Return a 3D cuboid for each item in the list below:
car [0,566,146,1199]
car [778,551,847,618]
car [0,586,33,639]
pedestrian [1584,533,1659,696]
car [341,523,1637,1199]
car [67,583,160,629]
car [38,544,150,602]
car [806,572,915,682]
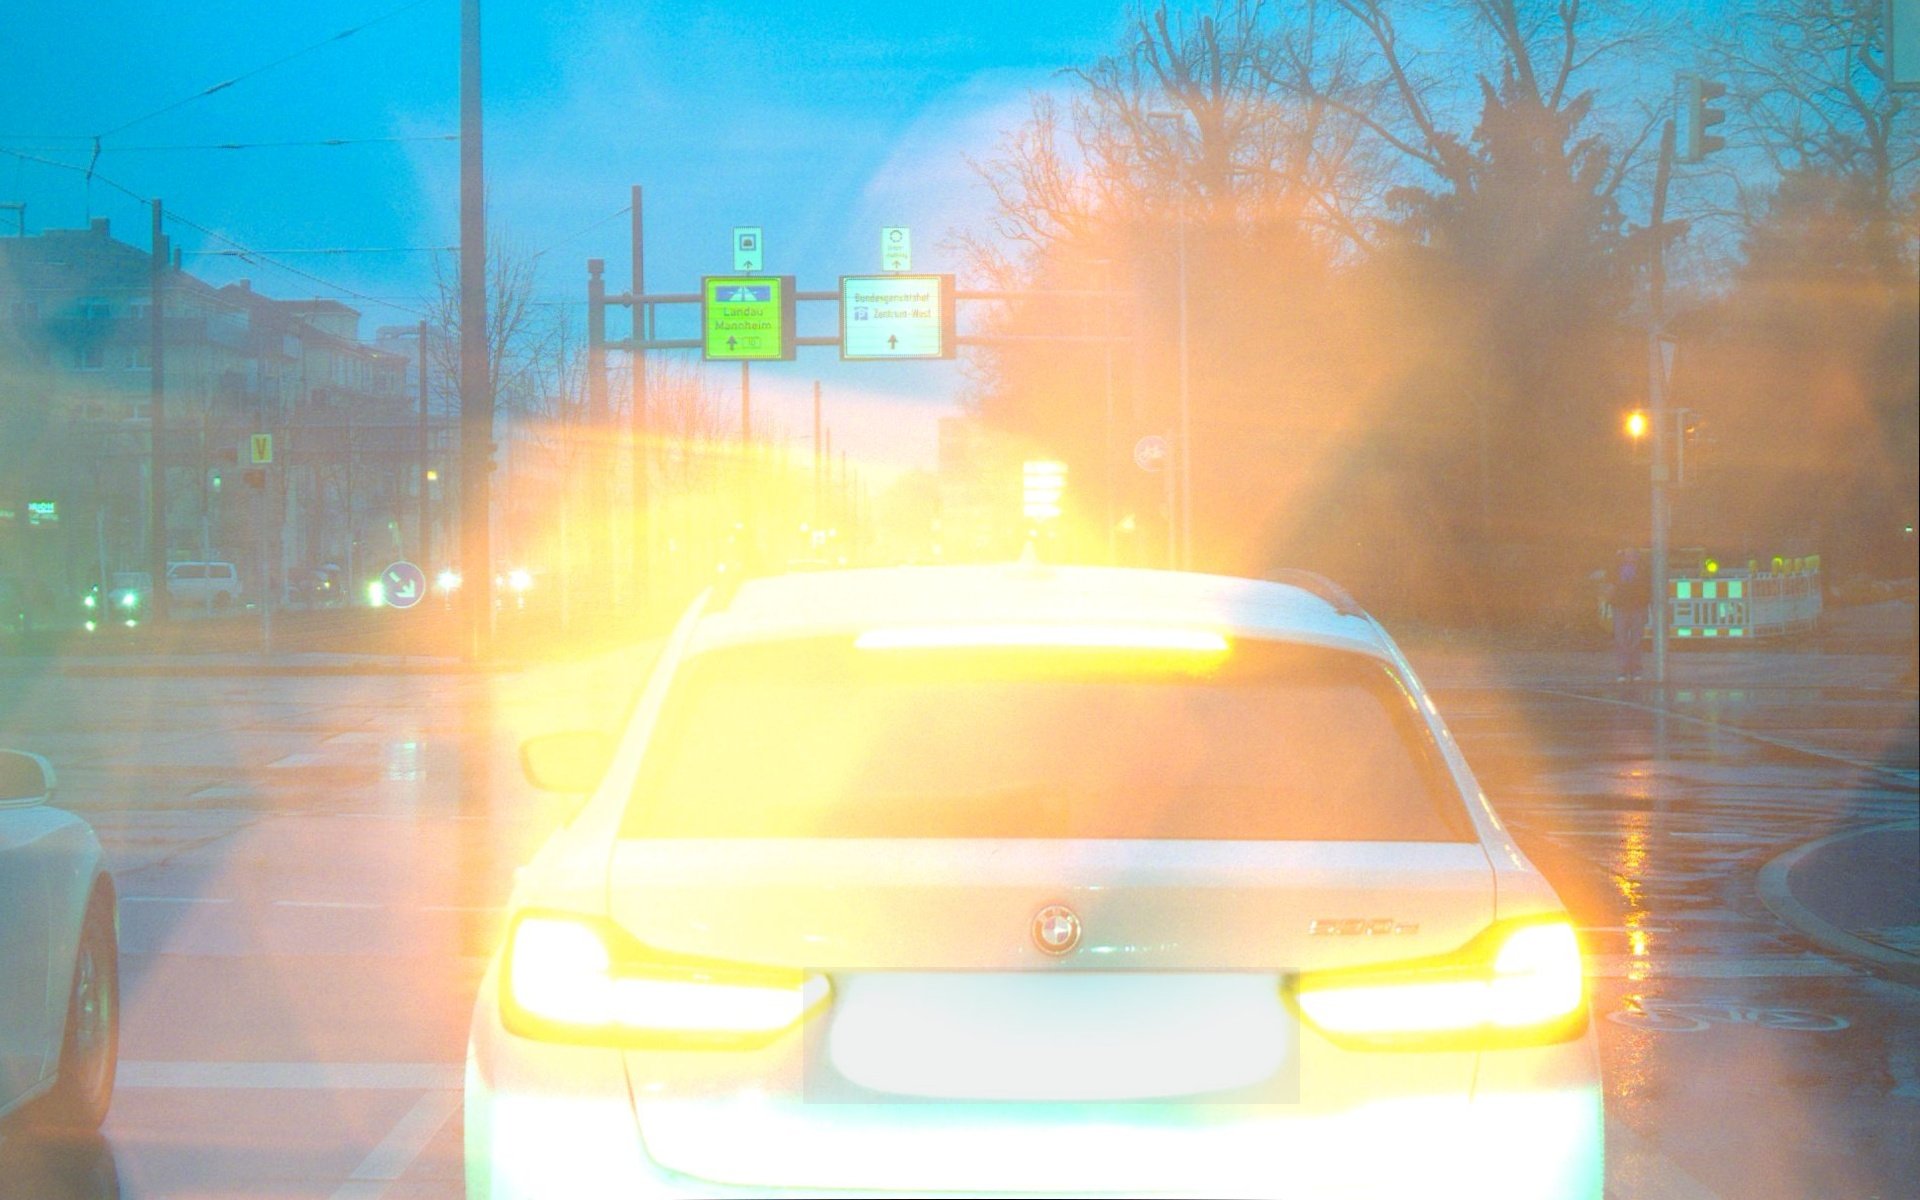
[{"bbox_3d":[-2.954,0.658,6.991,1.759,1.464,4.252,1,1,-3],"label":"car"},{"bbox_3d":[-4.553,-0.497,106.844,1.993,2.007,4.000,1,1,-1],"label":"car"},{"bbox_3d":[-28.081,0.340,98.253,1.993,1.457,5.095,1,1,-2],"label":"car"},{"bbox_3d":[7.672,0.162,39.879,0.673,1.873,0.715,1,0,-3],"label":"pedestrian"},{"bbox_3d":[-0.058,0.659,6.819,1.759,1.547,4.252,1,1,-3],"label":"car"},{"bbox_3d":[-28.061,0.185,114.099,1.993,1.457,5.095,1,1,-2],"label":"car"},{"bbox_3d":[-22.683,-0.712,90.242,1.993,1.457,5.096,1,1,-4],"label":"car"},{"bbox_3d":[-1.868,0.492,65.781,1.993,2.007,4.000,1,1,-1],"label":"car"}]
